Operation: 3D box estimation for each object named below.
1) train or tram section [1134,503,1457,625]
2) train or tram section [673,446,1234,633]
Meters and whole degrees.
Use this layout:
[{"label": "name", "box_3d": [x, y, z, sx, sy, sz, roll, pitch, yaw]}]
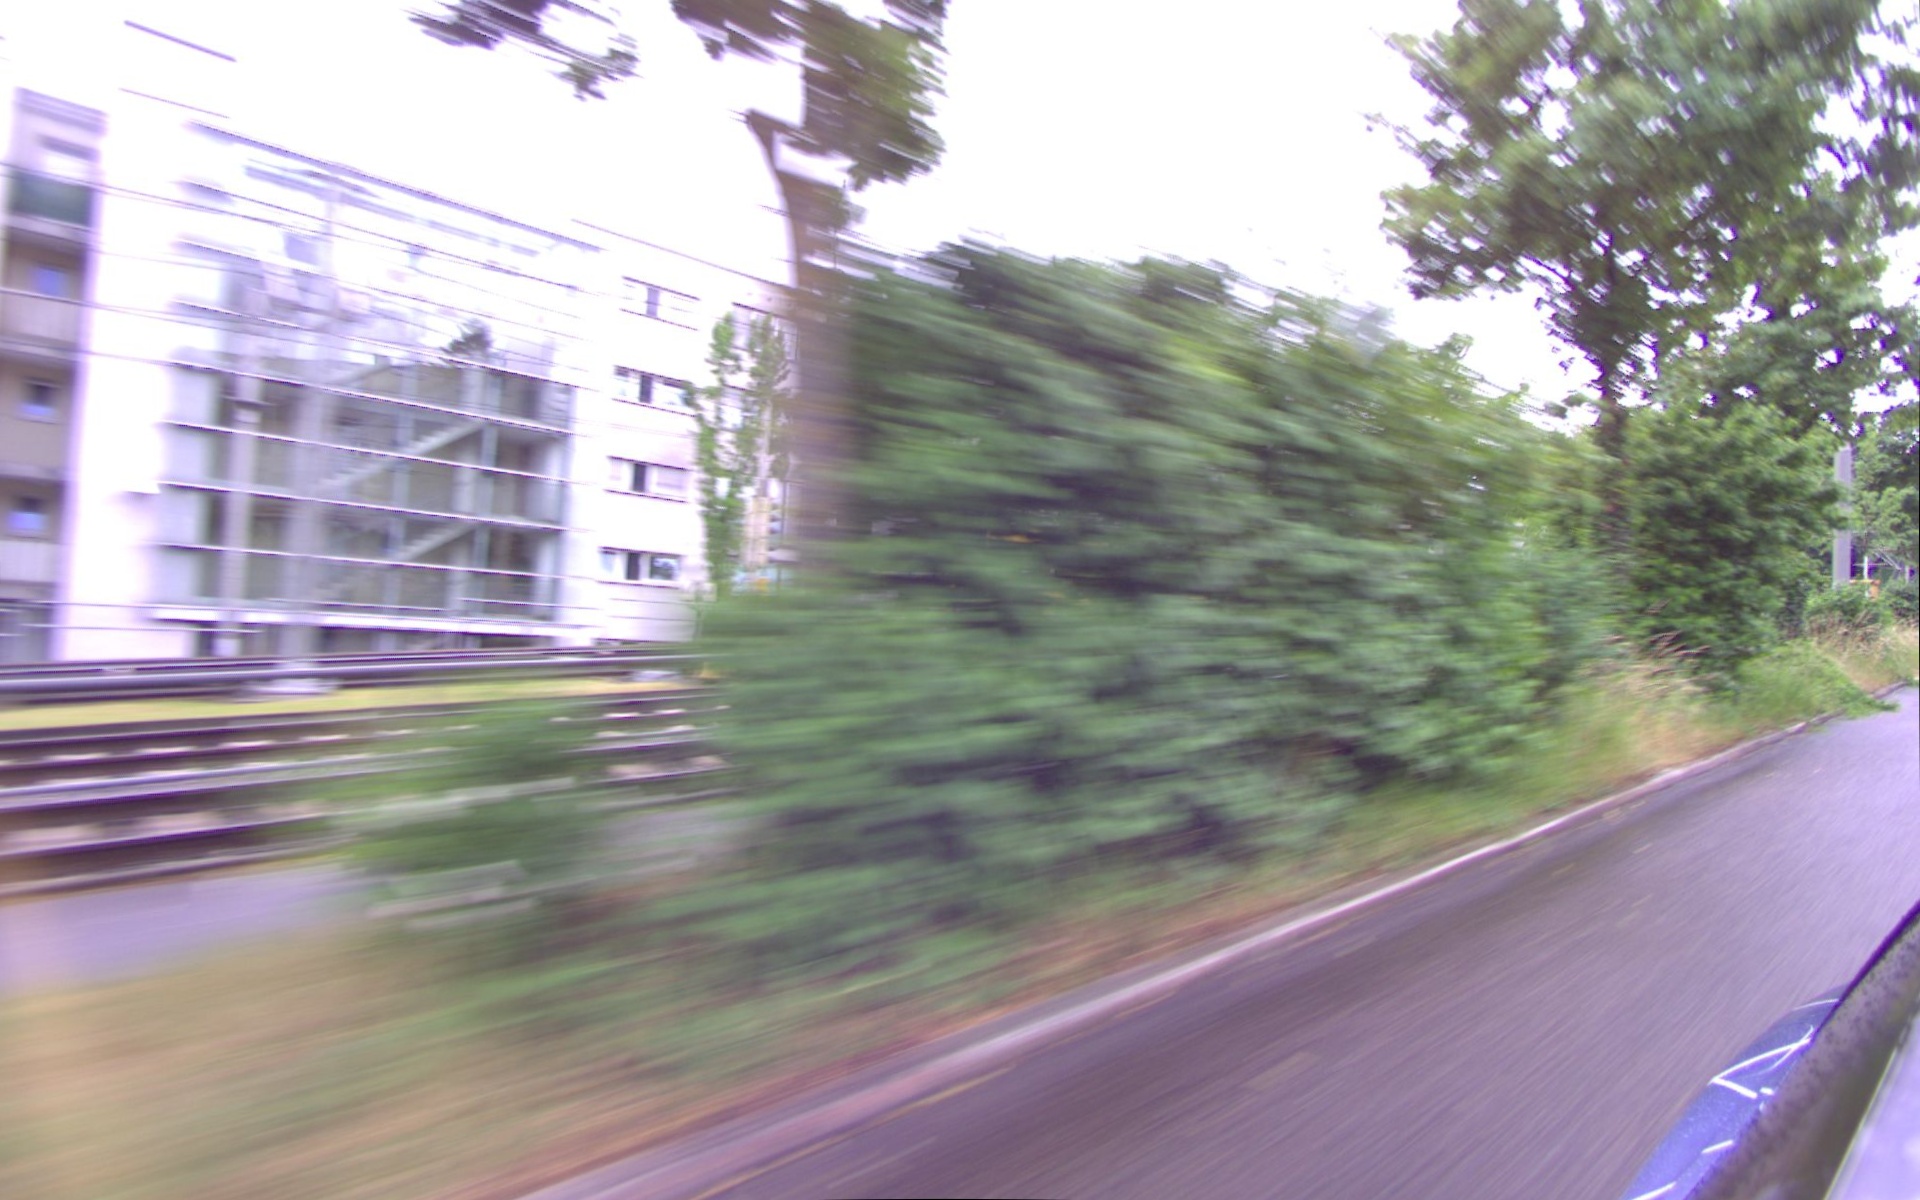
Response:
[{"label": "train or tram section", "box_3d": [14.292, -1.111, 40.653, 18.946, 3.997, 3.336, 1, 0, -42]}, {"label": "train or tram section", "box_3d": [1.169, -1.240, 29.024, 18.486, 3.997, 3.336, 1, 0, -42]}]
